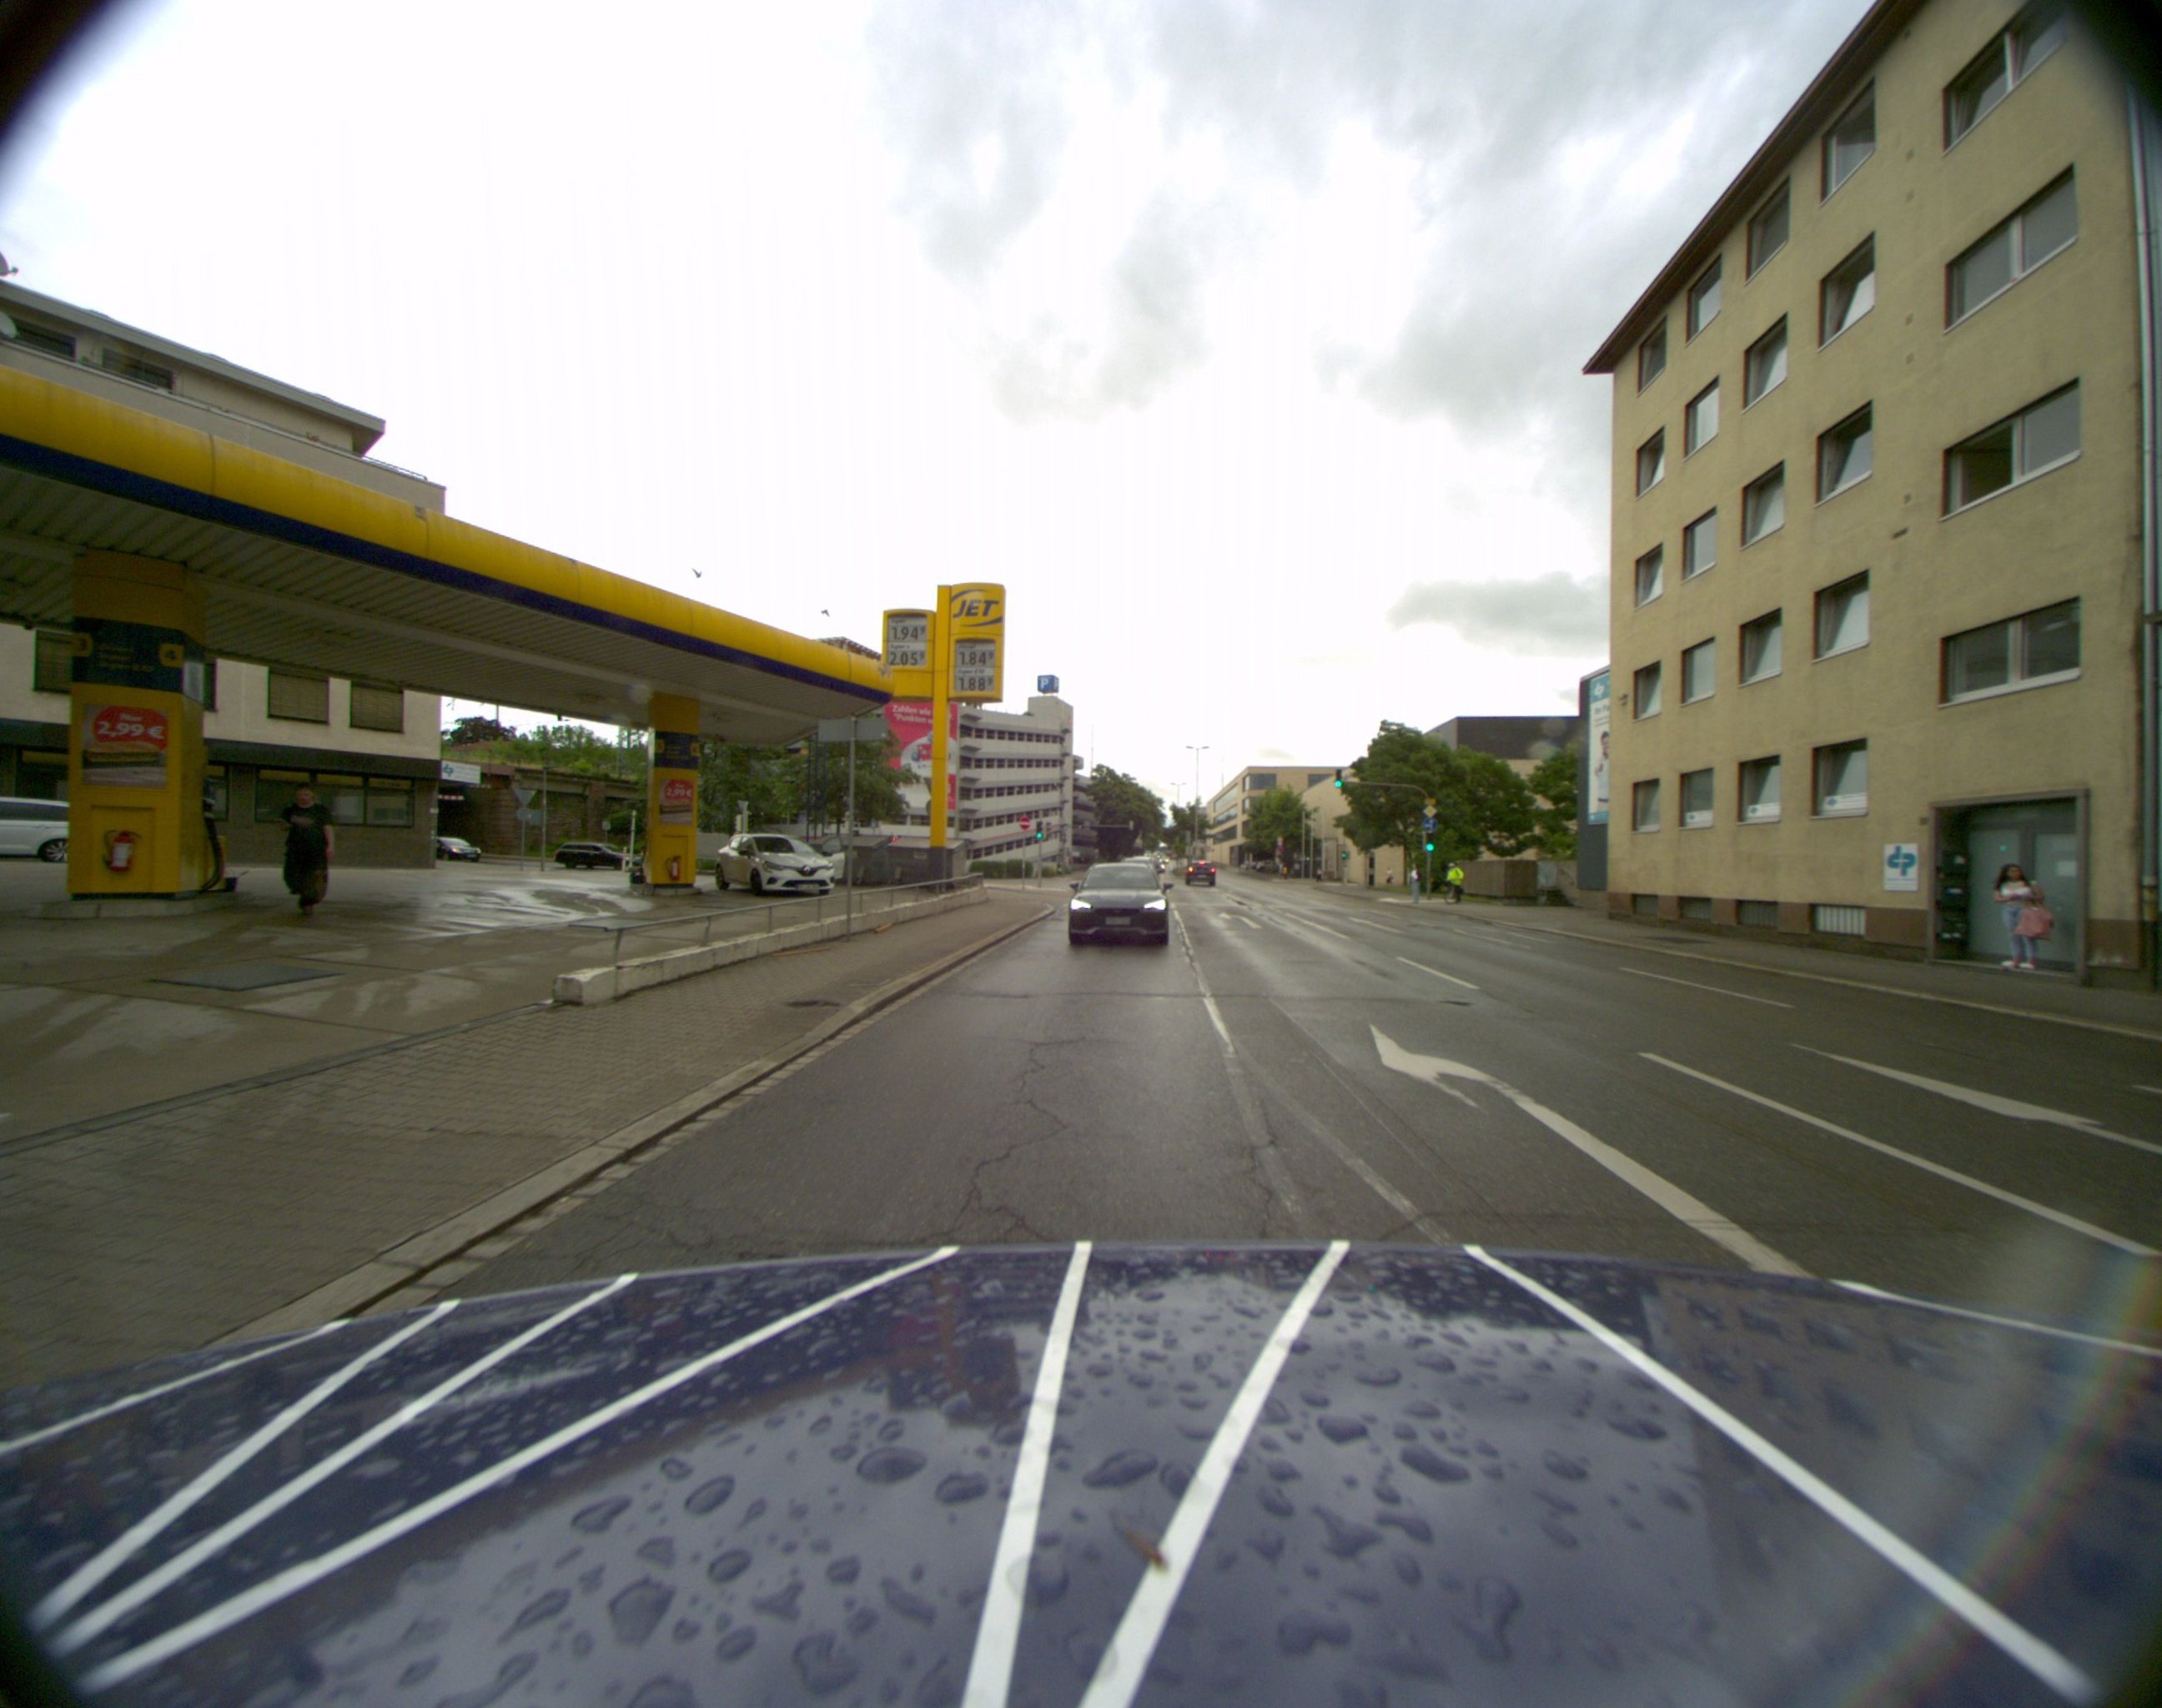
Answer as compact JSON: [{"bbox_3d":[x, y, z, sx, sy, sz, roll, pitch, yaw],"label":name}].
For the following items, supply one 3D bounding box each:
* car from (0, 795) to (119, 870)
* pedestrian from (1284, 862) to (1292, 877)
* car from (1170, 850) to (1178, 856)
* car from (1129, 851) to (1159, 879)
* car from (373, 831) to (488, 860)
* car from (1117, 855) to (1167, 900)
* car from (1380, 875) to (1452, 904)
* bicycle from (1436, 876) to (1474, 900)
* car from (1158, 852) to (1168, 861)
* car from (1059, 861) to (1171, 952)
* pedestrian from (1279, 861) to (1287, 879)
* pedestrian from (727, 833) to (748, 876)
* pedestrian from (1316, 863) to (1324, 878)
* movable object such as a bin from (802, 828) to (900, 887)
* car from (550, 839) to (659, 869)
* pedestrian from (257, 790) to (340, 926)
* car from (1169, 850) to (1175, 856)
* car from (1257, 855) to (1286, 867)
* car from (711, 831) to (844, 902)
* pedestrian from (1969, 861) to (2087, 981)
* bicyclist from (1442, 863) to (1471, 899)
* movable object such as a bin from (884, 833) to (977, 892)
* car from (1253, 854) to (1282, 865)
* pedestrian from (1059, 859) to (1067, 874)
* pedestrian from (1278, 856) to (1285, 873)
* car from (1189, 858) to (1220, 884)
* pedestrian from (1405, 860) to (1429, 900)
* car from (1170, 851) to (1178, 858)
[{"bbox_3d":[-27.212,-0.573,18.544,1.994,1.715,4.411,-1,-4,34],"label":"car"},{"bbox_3d":[20.927,1.546,76.808,0.595,1.507,0.692,-1,0,5],"label":"pedestrian"},{"bbox_3d":[24.129,-0.139,196.841,1.675,1.461,4.302,3,0,4],"label":"car"},{"bbox_3d":[4.352,0.764,52.074,1.804,1.817,3.952,-1,-1,7],"label":"car"},{"bbox_3d":[-38.249,-0.513,44.739,5.035,1.622,2.000,-1,0,0],"label":"car"},{"bbox_3d":[2.421,0.868,30.157,1.845,1.646,4.001,-1,0,5],"label":"car"},{"bbox_3d":[27.076,2.837,61.506,4.787,1.914,2.001,5,0,3],"label":"car"},{"bbox_3d":[15.394,1.372,31.315,0.887,0.902,1.868,-1,0,8],"label":"bicycle"},{"bbox_3d":[16.745,0.584,155.392,1.998,1.772,4.001,-1,0,3],"label":"car"},{"bbox_3d":[0.649,0.854,14.216,1.738,1.380,4.583,-1,0,3],"label":"car"},{"bbox_3d":[20.123,1.593,75.666,0.595,1.761,0.692,-1,0,5],"label":"pedestrian"},{"bbox_3d":[-12.030,0.024,26.617,0.576,1.506,0.478,-1,0,-35],"label":"pedestrian"},{"bbox_3d":[22.667,1.556,72.009,0.622,1.368,0.475,-1,0,6],"label":"pedestrian"},{"bbox_3d":[-6.656,0.103,22.143,2.160,1.546,1.774,3,0,6],"label":"movable object such as a bin"},{"bbox_3d":[-27.702,0.004,44.300,5.035,1.622,2.000,-1,0,0],"label":"car"},{"bbox_3d":[-10.536,0.053,10.250,0.661,1.762,0.528,2,2,-36],"label":"pedestrian"},{"bbox_3d":[30.279,-0.313,252.019,1.675,1.598,4.302,4,0,4],"label":"car"},{"bbox_3d":[27.182,1.020,108.499,3.994,1.575,2.002,-1,0,10],"label":"car"},{"bbox_3d":[-7.376,0.245,18.269,1.750,1.434,3.987,2,1,-40],"label":"car"},{"bbox_3d":[13.844,0.955,11.134,0.718,1.679,0.811,-1,0,8],"label":"pedestrian"},{"bbox_3d":[15.414,1.091,31.192,0.844,1.433,0.813,-1,0,8],"label":"bicyclist"},{"bbox_3d":[-4.301,0.236,21.933,2.160,1.565,1.774,2,0,6],"label":"movable object such as a bin"},{"bbox_3d":[27.277,0.764,111.119,3.994,1.575,2.002,-1,0,10],"label":"car"},{"bbox_3d":[-1.915,1.335,81.266,0.583,1.650,0.519,4,2,23],"label":"pedestrian"},{"bbox_3d":[20.686,1.098,78.474,0.595,1.721,0.692,-1,0,1],"label":"pedestrian"},{"bbox_3d":[8.125,1.085,50.222,1.811,1.585,4.297,1,0,7],"label":"car"},{"bbox_3d":[14.431,1.106,32.644,0.718,1.679,0.811,-1,0,8],"label":"pedestrian"},{"bbox_3d":[26.920,0.063,219.492,1.854,1.841,4.302,4,0,4],"label":"car"}]
